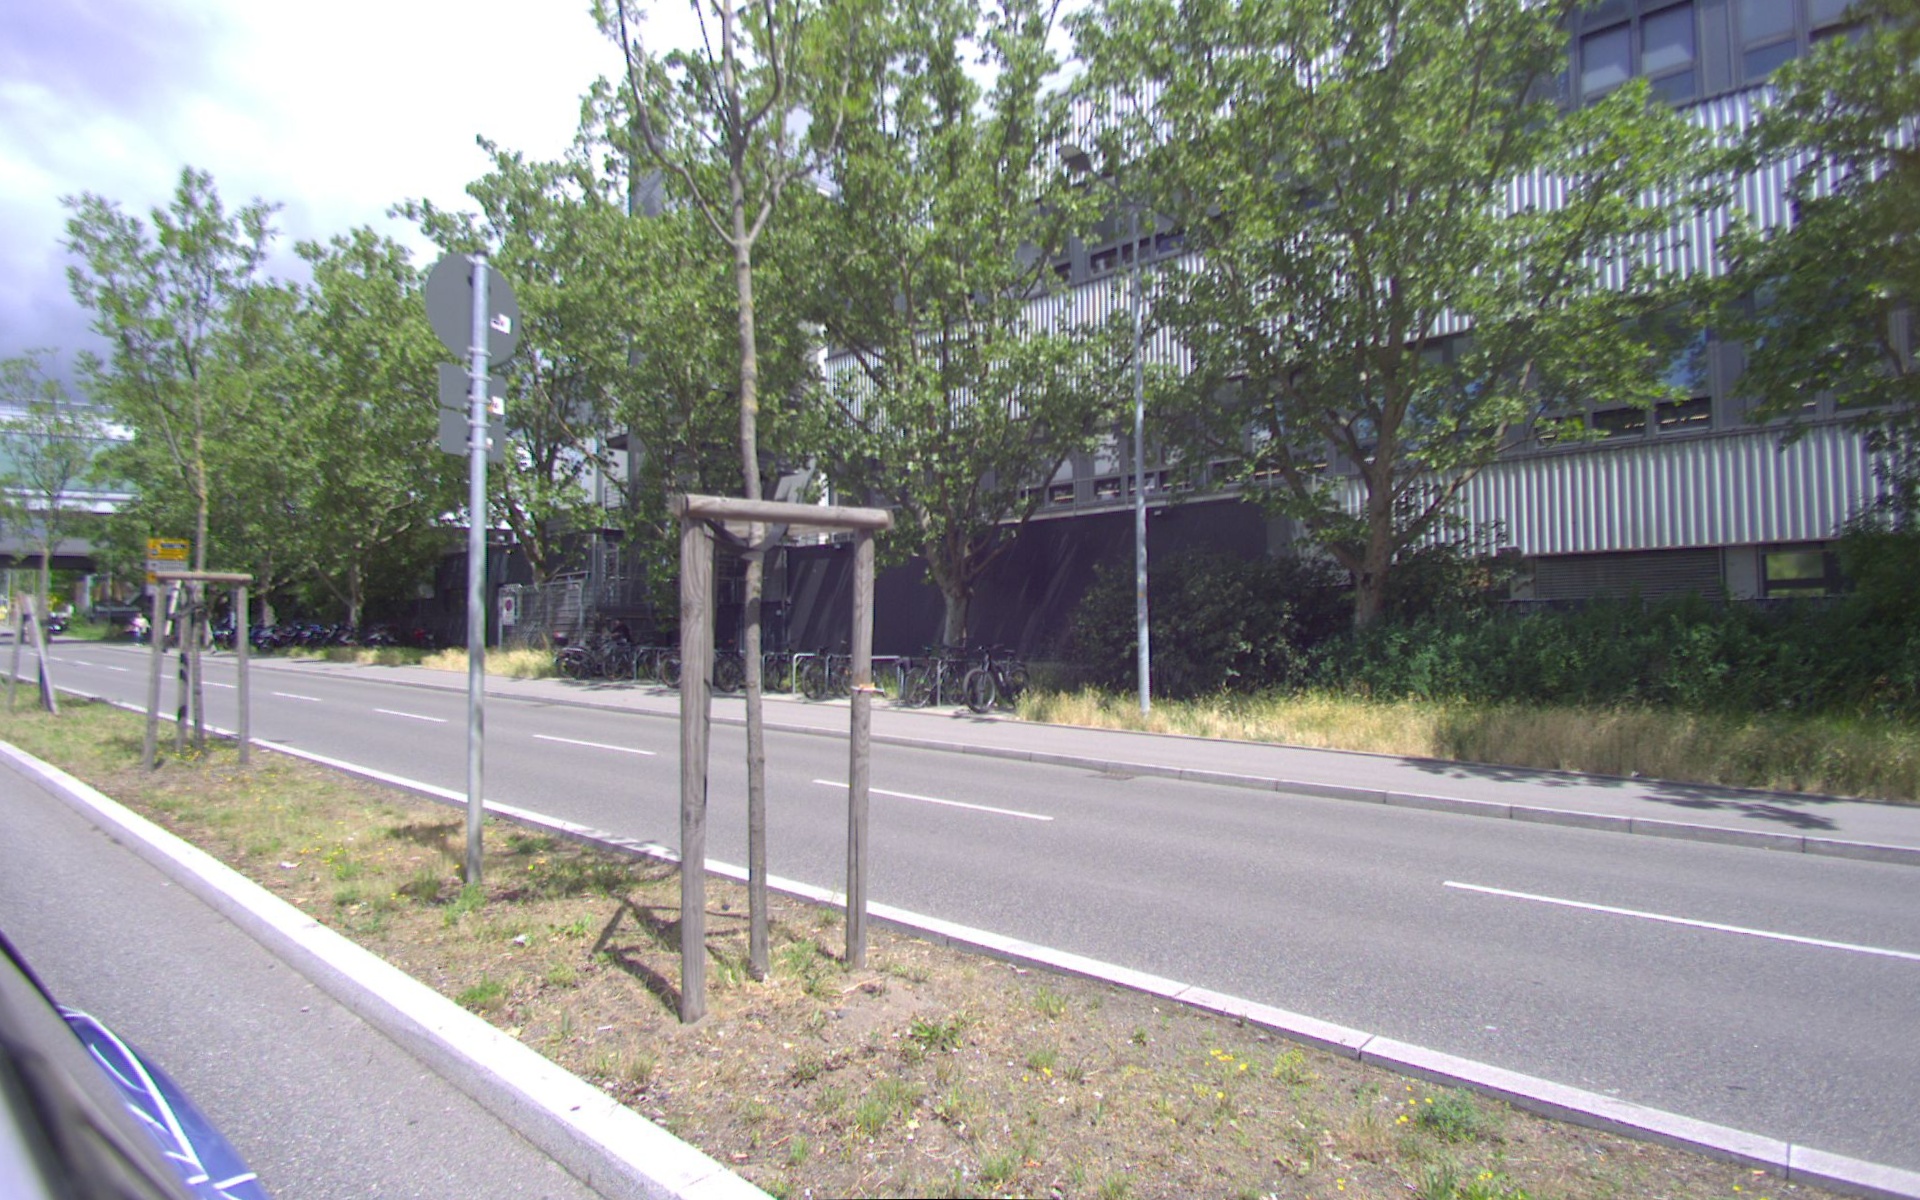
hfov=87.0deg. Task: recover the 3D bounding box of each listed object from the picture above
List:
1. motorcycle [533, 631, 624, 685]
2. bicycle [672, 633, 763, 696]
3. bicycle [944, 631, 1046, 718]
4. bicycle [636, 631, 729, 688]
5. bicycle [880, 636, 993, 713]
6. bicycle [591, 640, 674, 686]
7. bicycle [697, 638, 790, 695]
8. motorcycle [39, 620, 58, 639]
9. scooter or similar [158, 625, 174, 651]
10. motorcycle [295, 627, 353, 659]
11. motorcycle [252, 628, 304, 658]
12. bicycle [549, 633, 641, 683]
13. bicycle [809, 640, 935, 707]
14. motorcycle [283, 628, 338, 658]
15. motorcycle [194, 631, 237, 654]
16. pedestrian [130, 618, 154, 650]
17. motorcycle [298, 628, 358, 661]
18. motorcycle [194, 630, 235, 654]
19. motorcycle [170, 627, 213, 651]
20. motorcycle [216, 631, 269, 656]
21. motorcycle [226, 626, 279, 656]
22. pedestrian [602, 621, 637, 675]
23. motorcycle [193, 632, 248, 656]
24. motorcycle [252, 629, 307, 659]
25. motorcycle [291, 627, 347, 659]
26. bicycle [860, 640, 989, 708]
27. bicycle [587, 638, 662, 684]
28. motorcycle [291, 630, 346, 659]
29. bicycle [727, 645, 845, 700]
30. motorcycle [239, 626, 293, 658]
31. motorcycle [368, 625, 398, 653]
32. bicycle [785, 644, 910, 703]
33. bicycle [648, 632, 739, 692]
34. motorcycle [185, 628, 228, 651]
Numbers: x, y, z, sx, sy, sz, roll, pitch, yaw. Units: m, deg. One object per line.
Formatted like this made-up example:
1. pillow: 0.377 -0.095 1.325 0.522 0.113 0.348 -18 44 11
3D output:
1. motorcycle: -9.876 1.470 26.274 0.805 1.319 2.113 -1 -1 38
2. bicycle: -5.380 1.401 22.572 0.805 1.292 1.899 -1 -1 38
3. bicycle: 0.625 1.238 17.342 0.489 1.374 2.144 -2 -2 42
4. bicycle: -6.657 1.402 24.356 0.805 1.292 2.113 -1 -1 38
5. bicycle: -0.387 1.297 18.232 0.555 1.267 2.379 -2 -2 42
6. bicycle: -8.194 1.553 25.392 0.497 1.070 2.060 -1 -1 38
7. bicycle: -4.655 1.407 21.898 0.805 1.131 1.899 -1 -1 38
8. motorcycle: -63.054 2.034 70.003 2.255 1.207 0.633 0 1 39
9. scooter or similar: -39.192 1.863 49.949 1.478 1.245 0.350 0 0 40
10. motorcycle: -25.790 1.748 41.042 1.855 1.195 0.730 -2 0 -42
11. motorcycle: -30.254 1.903 44.882 1.853 1.188 0.817 -2 -1 -35
12. bicycle: -9.322 1.466 25.936 0.805 1.189 2.113 -1 -1 38
13. bicycle: -1.681 1.402 19.697 2.533 1.166 0.645 0 -1 -40
14. motorcycle: -27.942 1.862 43.574 0.698 1.188 1.857 -3 -1 43
15. motorcycle: -37.297 2.124 50.717 0.776 1.041 1.574 -3 -1 41
16. pedestrian: -42.148 1.736 52.140 0.812 1.624 0.760 -1 1 39
17. motorcycle: -24.521 1.730 39.274 1.855 1.182 0.746 -2 -1 -41
18. motorcycle: -38.163 2.154 51.820 0.776 1.131 1.574 -3 -1 41
19. motorcycle: -40.884 2.078 53.832 1.721 1.180 0.777 -2 -1 -42
20. motorcycle: -34.252 2.071 48.352 1.904 1.124 0.924 -2 -1 -23
21. motorcycle: -33.086 1.926 47.337 1.905 1.300 0.895 -2 -1 -29
22. pedestrian: -10.129 1.407 30.124 0.744 1.563 0.822 0 -1 -40
23. motorcycle: -35.843 2.129 49.087 0.917 1.124 1.919 0 -3 28
24. motorcycle: -29.486 1.918 43.847 1.855 1.188 0.816 -2 -1 -41
25. motorcycle: -27.139 1.811 42.874 0.655 1.219 1.857 -3 -1 43
26. bicycle: -0.643 1.376 19.313 2.533 1.166 0.727 0 -1 -40
27. bicycle: -8.517 1.528 25.738 0.422 1.083 1.905 -1 -1 38
28. motorcycle: -26.524 1.837 41.868 1.853 1.093 0.796 -2 -1 -35
29. bicycle: -3.664 1.510 21.648 0.848 1.014 2.814 -1 -1 31
30. motorcycle: -31.380 1.887 45.794 1.905 1.354 0.867 -2 -1 -29
31. motorcycle: -26.401 1.790 46.300 1.983 1.219 0.645 -3 -1 45
32. bicycle: -2.221 1.438 20.335 2.532 1.104 0.697 2 -3 -40
33. bicycle: -6.066 1.384 23.120 0.805 1.292 1.899 -1 -1 38
34. motorcycle: -39.197 2.046 52.666 0.773 1.131 1.579 -3 -1 31
